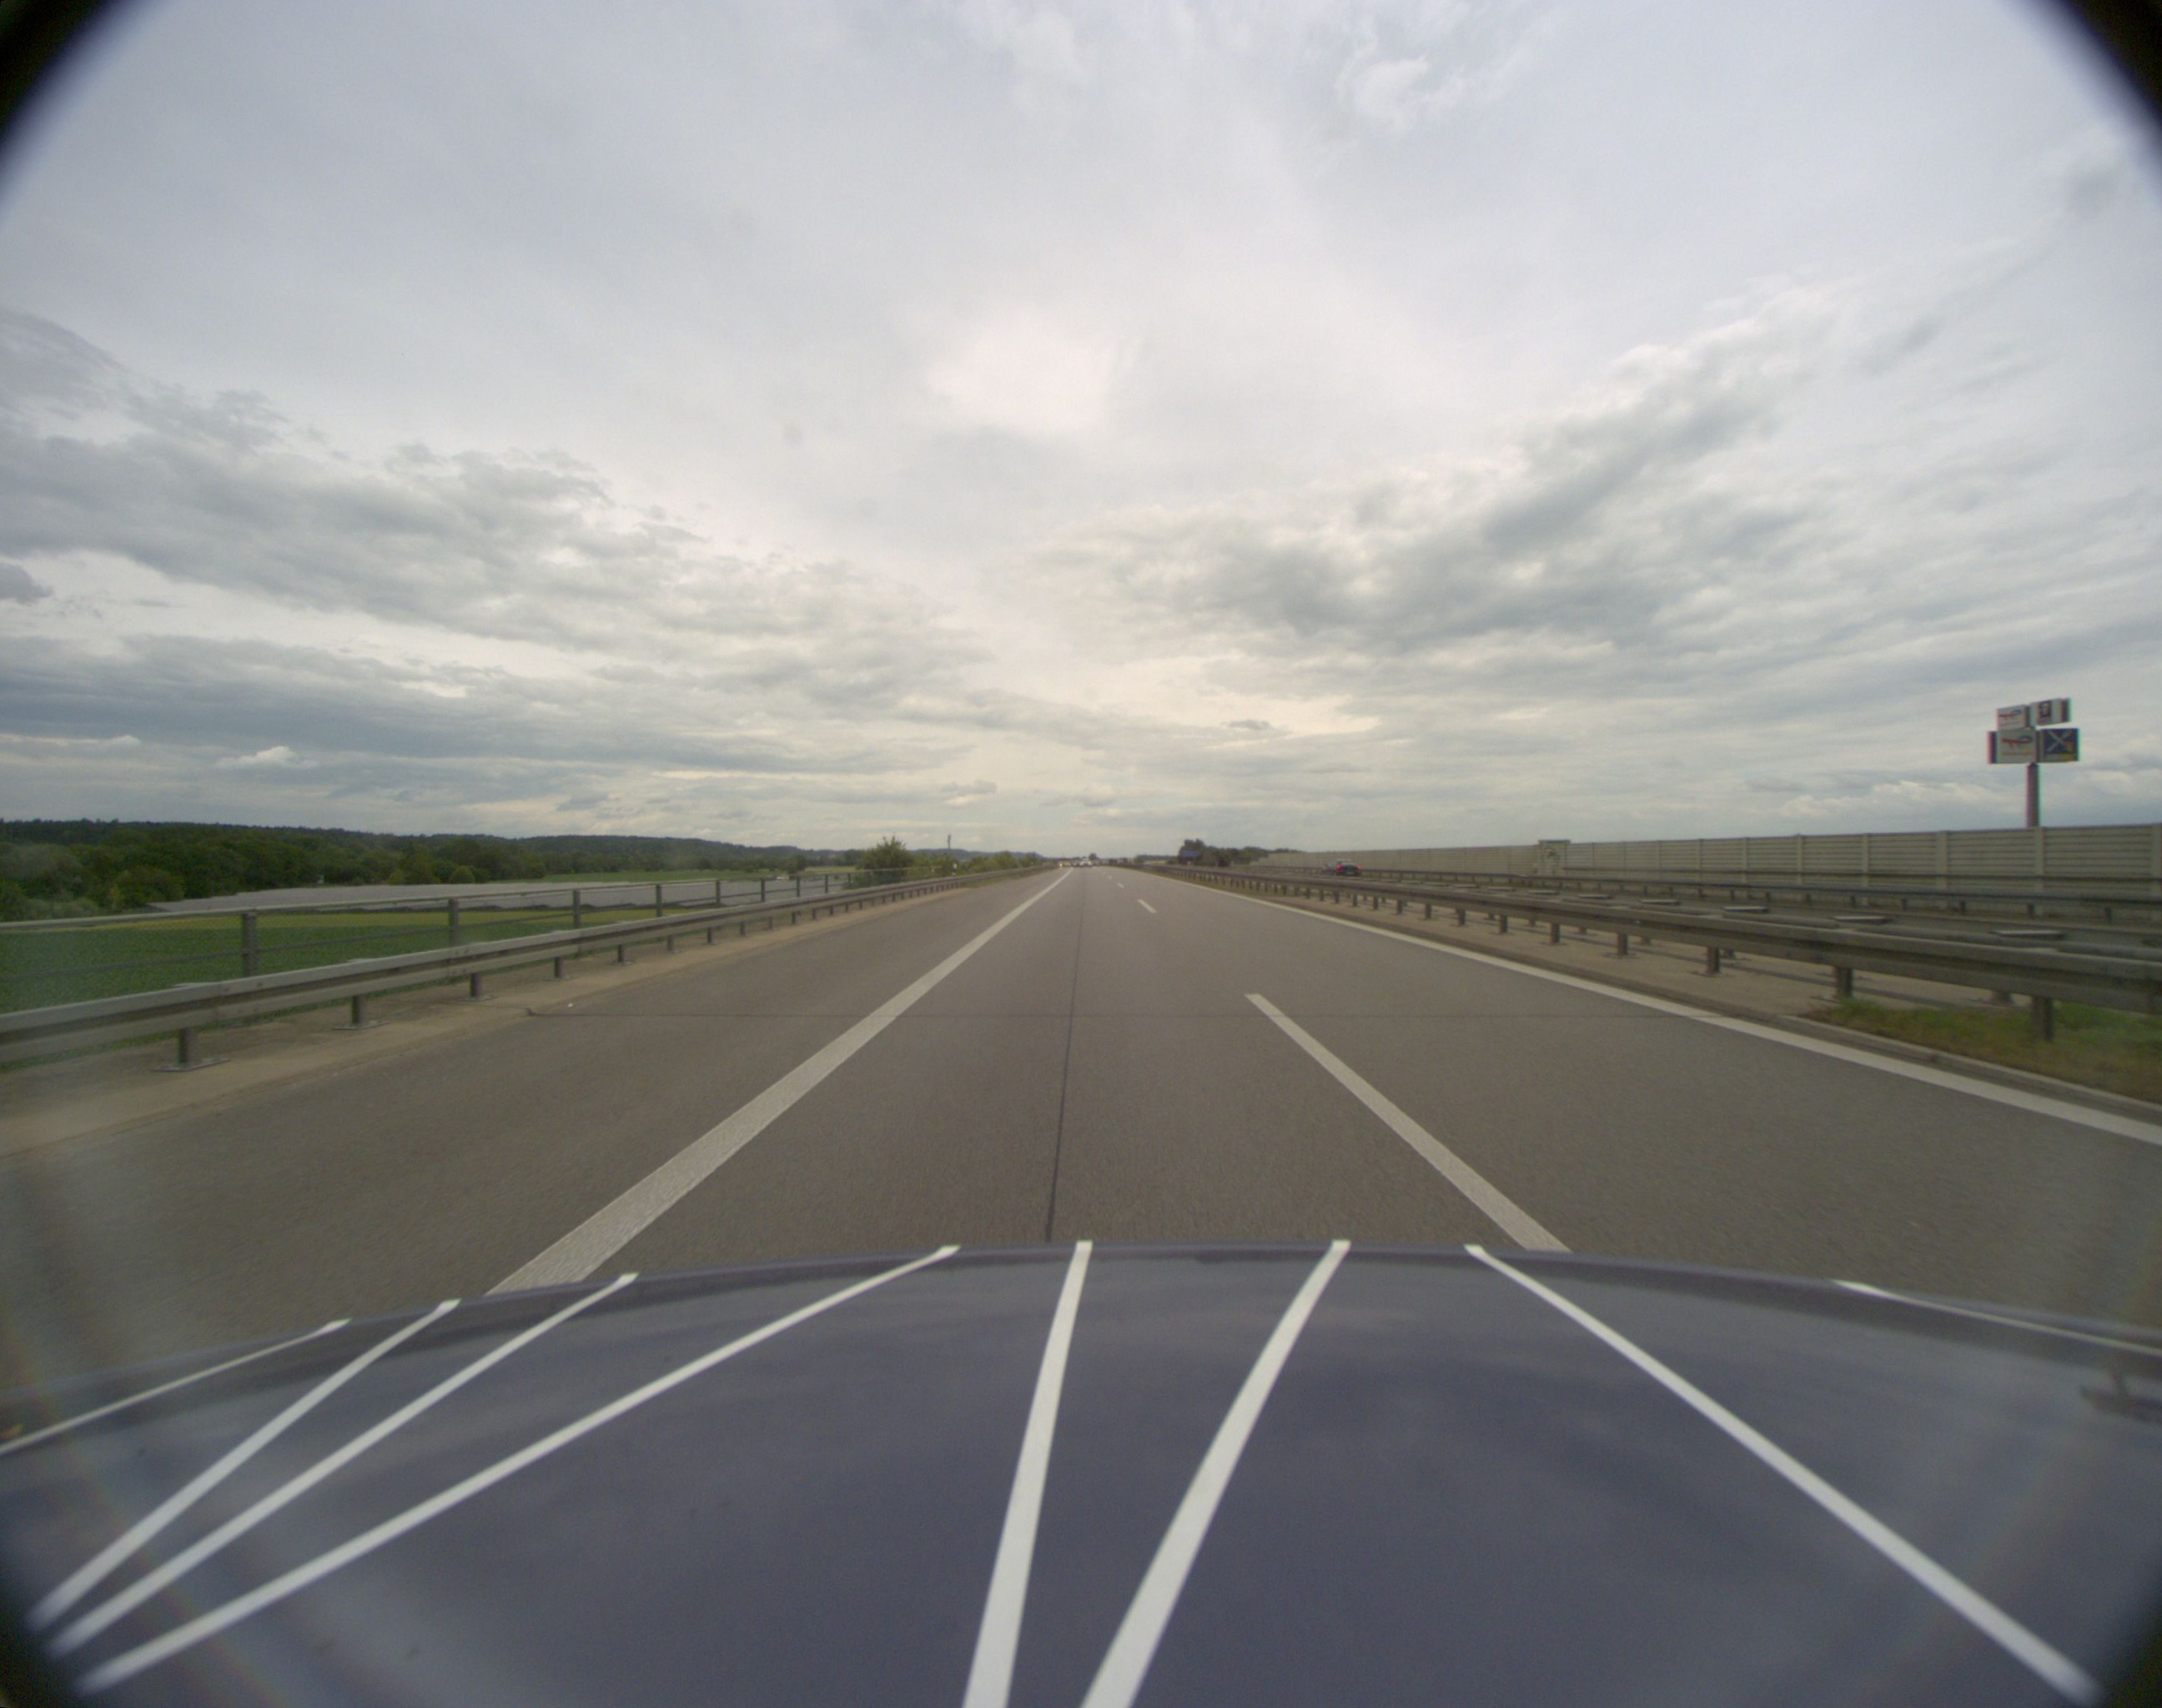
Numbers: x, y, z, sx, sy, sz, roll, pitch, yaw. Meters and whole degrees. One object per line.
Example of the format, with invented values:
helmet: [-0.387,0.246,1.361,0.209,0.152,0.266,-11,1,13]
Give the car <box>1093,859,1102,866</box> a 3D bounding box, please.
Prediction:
car: [3.749,1.903,174.374,1.850,1.664,4.200,0,-1,0]

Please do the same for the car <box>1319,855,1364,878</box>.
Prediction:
car: [18.534,0.868,54.211,1.708,1.486,4.566,0,0,1]

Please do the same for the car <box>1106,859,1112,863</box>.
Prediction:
car: [9.141,2.324,249.175,1.804,1.385,4.000,-2,-1,-1]

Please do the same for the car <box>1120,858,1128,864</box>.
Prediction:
car: [11.344,1.794,200.567,1.792,1.442,5.173,-2,0,0]

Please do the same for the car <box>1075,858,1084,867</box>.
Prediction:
car: [-0.358,1.783,160.983,1.851,1.850,4.000,0,-1,-2]

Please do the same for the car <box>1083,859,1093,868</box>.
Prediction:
car: [1.221,1.715,139.786,1.850,1.664,4.200,0,-1,0]
